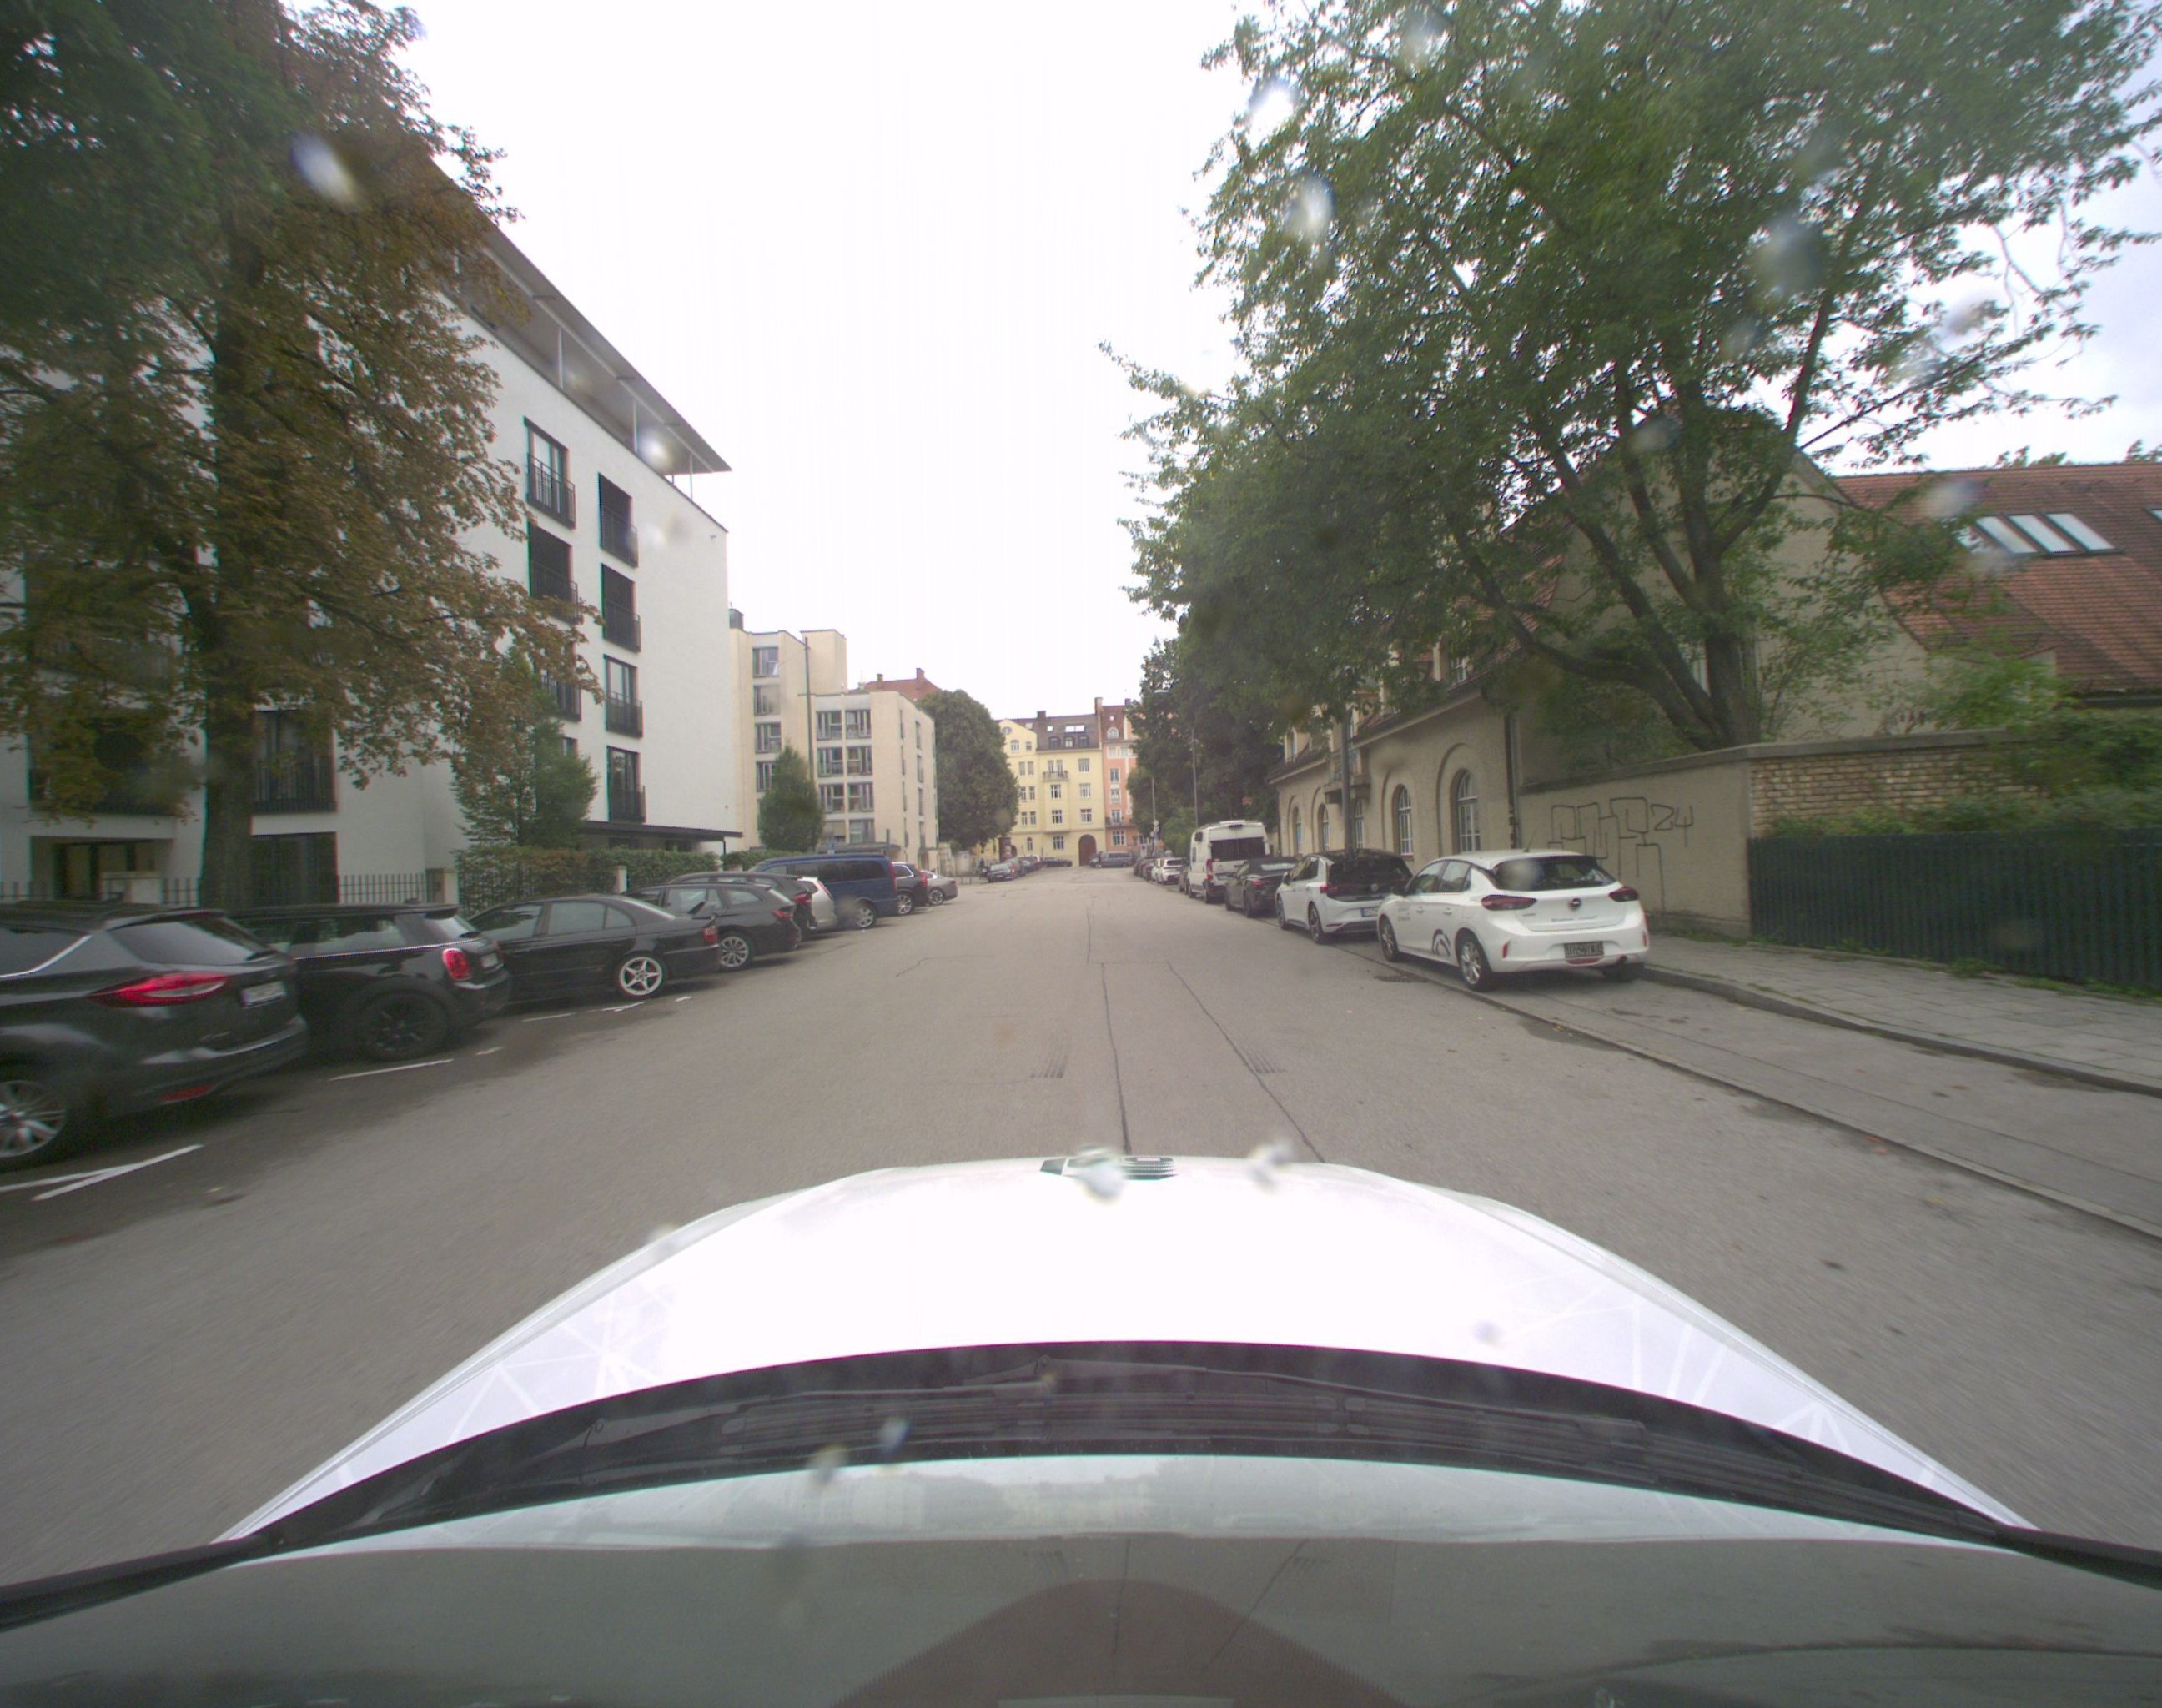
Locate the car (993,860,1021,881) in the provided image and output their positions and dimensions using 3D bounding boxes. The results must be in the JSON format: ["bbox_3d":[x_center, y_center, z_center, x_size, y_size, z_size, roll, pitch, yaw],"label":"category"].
[{"bbox_3d":[-6.302,1.387,69.746,1.828,1.508,4.001,-5,0,1],"label":"car"}]

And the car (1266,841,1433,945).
[{"bbox_3d":[4.750,0.627,15.085,1.701,1.537,4.241,-4,0,2],"label":"car"}]

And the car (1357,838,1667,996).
[{"bbox_3d":[4.876,0.637,9.943,1.679,1.441,4.001,-3,-1,2],"label":"car"}]

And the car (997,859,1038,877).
[{"bbox_3d":[-6.686,1.439,85.942,3.974,1.508,1.840,-5,0,0],"label":"car"}]

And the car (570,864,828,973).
[{"bbox_3d":[-7.269,1.157,15.831,4.225,1.609,1.723,-4,0,-25],"label":"car"}]

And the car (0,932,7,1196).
[{"bbox_3d":[-7.384,1.041,2.525,4.414,1.621,2.072,-3,-1,-21],"label":"car"}]

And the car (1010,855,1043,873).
[{"bbox_3d":[-6.848,1.240,102.698,3.974,1.799,1.840,-5,0,0],"label":"car"}]

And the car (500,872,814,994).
[{"bbox_3d":[-6.625,1.168,13.249,4.219,1.461,1.725,-4,0,-21],"label":"car"}]

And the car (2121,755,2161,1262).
[{"bbox_3d":[4.633,0.447,0.352,1.988,1.711,4.881,-4,0,-2],"label":"car"}]

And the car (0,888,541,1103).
[{"bbox_3d":[-7.751,1.178,7.576,4.223,1.461,1.779,-3,-1,-24],"label":"car"}]

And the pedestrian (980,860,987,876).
[{"bbox_3d":[-10.205,1.433,85.229,0.569,1.657,0.465,-2,-1,1],"label":"pedestrian"}]

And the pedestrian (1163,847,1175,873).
[{"bbox_3d":[6.918,0.476,64.086,0.770,2.013,0.562,-2,-1,0],"label":"pedestrian"}]

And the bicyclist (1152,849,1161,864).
[{"bbox_3d":[8.021,0.273,86.460,0.768,1.510,0.652,-1,-1,-17],"label":"bicyclist"}]

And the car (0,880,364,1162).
[{"bbox_3d":[-7.702,1.082,5.221,4.223,1.599,1.871,-3,-1,-24],"label":"car"}]

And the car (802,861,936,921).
[{"bbox_3d":[-7.364,1.234,28.389,4.132,1.708,1.721,-4,0,-30],"label":"car"}]

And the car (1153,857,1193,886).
[{"bbox_3d":[5.156,0.957,46.102,1.702,1.408,4.129,-4,0,0],"label":"car"}]

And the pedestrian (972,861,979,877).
[{"bbox_3d":[-11.034,1.538,85.291,0.569,1.657,0.465,-2,-1,1],"label":"pedestrian"}]

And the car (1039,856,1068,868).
[{"bbox_3d":[-3.962,1.210,118.451,3.972,1.586,1.704,-2,0,2],"label":"car"}]

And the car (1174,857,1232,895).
[{"bbox_3d":[5.046,0.881,34.148,1.702,1.369,4.129,-4,0,0],"label":"car"}]

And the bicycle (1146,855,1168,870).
[{"bbox_3d":[8.073,0.917,86.463,2.222,1.510,0.651,-2,-1,-17],"label":"bicycle"}]

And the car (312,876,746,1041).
[{"bbox_3d":[-6.725,1.169,10.469,4.231,1.461,1.720,-4,0,-30],"label":"car"}]

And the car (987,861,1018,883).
[{"bbox_3d":[-6.132,1.376,63.791,1.828,1.508,4.001,-5,0,1],"label":"car"}]

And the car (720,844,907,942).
[{"bbox_3d":[-6.818,0.933,20.859,4.229,2.066,1.721,-4,0,-29],"label":"car"}]

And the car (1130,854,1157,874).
[{"bbox_3d":[5.021,0.797,65.700,1.666,1.344,3.835,-4,1,-2],"label":"car"}]

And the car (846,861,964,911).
[{"bbox_3d":[-6.940,1.242,32.223,4.134,1.609,1.720,-4,0,-31],"label":"car"}]

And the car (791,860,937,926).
[{"bbox_3d":[-6.907,1.193,26.003,4.132,1.708,1.721,-4,0,-30],"label":"car"}]

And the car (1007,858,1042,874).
[{"bbox_3d":[-6.809,1.456,97.906,3.974,1.508,1.840,-5,0,0],"label":"car"}]

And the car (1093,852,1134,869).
[{"bbox_3d":[3.763,0.771,95.899,4.690,1.880,1.839,-2,-1,-1],"label":"car"}]

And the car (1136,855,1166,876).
[{"bbox_3d":[5.185,0.856,60.776,1.666,1.344,3.835,-4,1,-2],"label":"car"}]

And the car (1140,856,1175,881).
[{"bbox_3d":[5.163,0.942,55.338,1.799,1.465,3.834,-4,1,-3],"label":"car"}]

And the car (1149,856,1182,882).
[{"bbox_3d":[5.280,0.931,51.044,1.701,1.466,3.839,-4,0,2],"label":"car"}]

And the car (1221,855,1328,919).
[{"bbox_3d":[4.806,0.766,20.878,1.701,1.369,4.441,-4,0,1],"label":"car"}]

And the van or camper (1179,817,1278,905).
[{"bbox_3d":[4.857,0.220,27.748,2.185,2.550,5.728,-4,0,0],"label":"van or camper"}]

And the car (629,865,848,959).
[{"bbox_3d":[-7.545,1.204,18.070,4.229,1.609,1.721,-4,0,-29],"label":"car"}]

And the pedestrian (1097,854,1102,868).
[{"bbox_3d":[2.120,0.789,91.951,0.462,1.657,0.572,-2,-1,-5],"label":"pedestrian"}]

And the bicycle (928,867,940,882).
[{"bbox_3d":[-12.330,1.714,68.368,0.636,1.149,2.423,-2,0,-1],"label":"bicycle"}]
